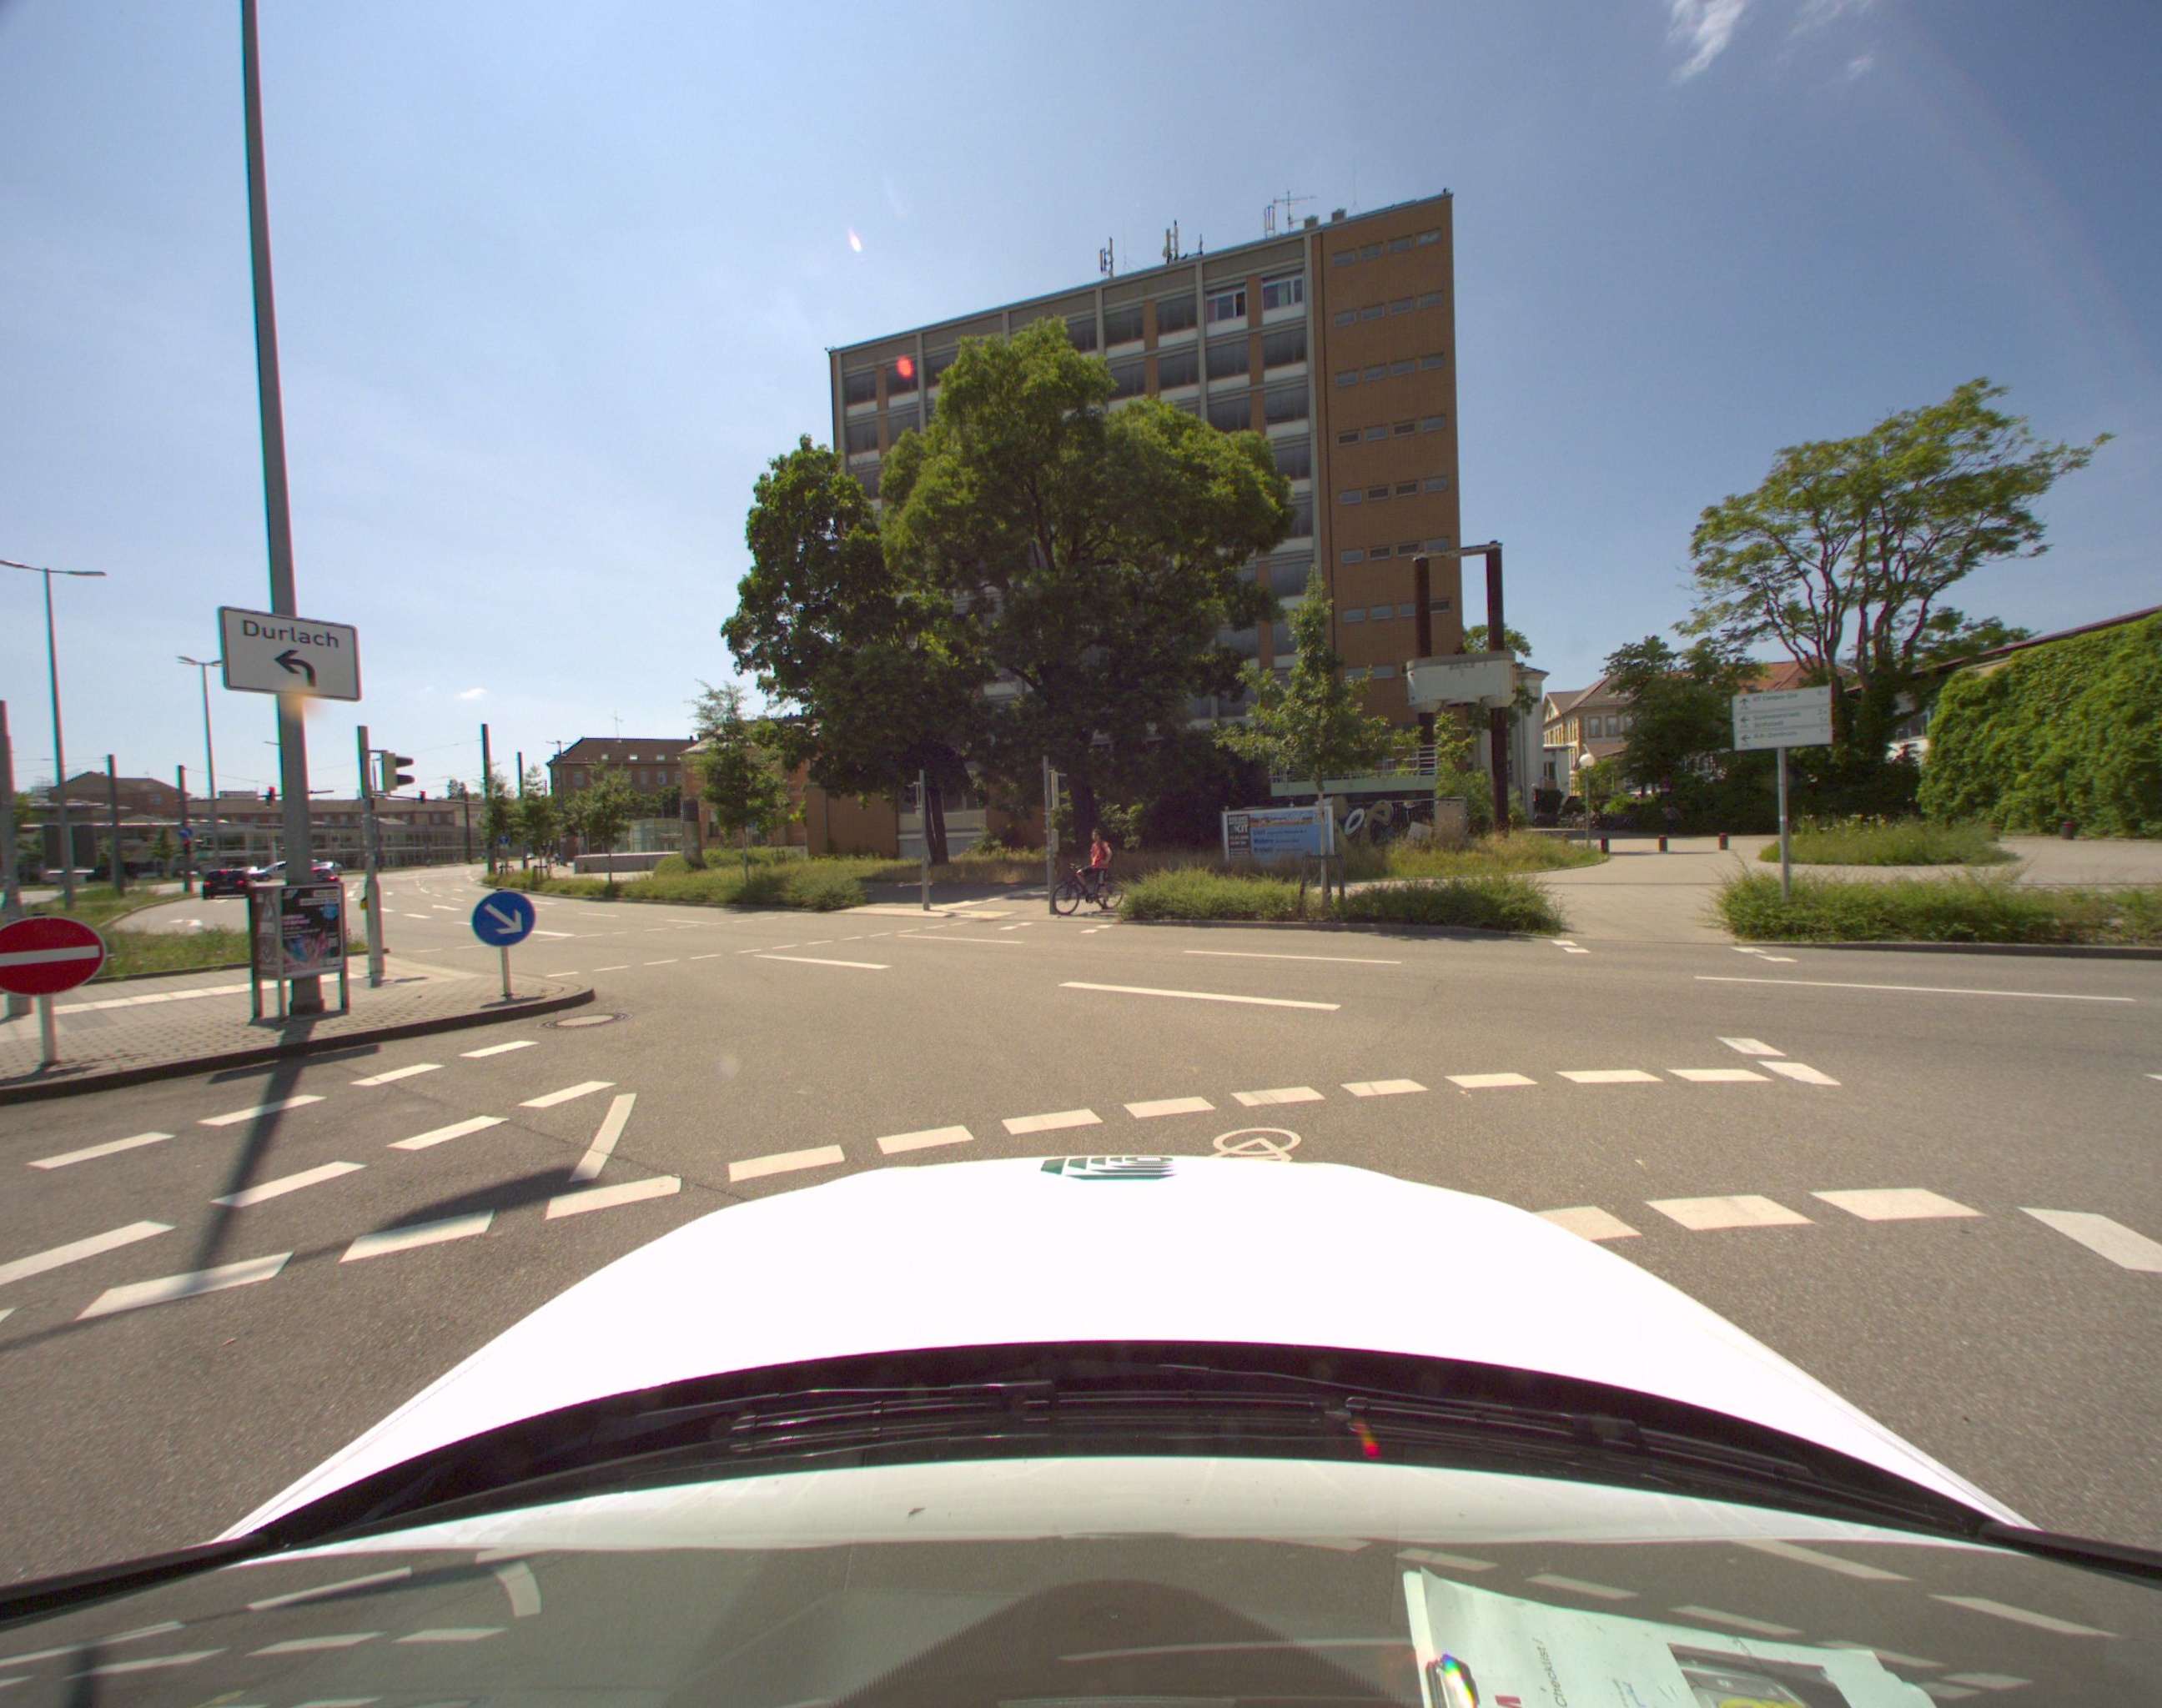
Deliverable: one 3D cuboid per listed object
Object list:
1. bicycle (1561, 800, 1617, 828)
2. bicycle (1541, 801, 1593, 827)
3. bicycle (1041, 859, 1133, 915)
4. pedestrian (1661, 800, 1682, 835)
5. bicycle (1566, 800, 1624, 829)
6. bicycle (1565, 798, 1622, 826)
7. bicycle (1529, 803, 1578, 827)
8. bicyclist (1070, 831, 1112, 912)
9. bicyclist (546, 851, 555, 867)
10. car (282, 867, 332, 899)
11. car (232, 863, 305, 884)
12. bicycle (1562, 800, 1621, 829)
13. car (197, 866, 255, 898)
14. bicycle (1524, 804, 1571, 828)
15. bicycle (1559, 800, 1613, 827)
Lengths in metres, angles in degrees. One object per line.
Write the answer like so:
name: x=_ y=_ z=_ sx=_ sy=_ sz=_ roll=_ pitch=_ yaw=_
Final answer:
bicycle: x=37.724 y=-2.981 z=60.492 sx=3.417 sy=2.013 sz=0.764 roll=1 pitch=2 yaw=21
bicycle: x=38.610 y=-3.162 z=64.770 sx=3.417 sy=2.013 sz=0.764 roll=1 pitch=2 yaw=21
bicycle: x=0.152 y=0.710 z=18.059 sx=2.003 sy=1.045 sz=0.553 roll=-4 pitch=3 yaw=-29
pedestrian: x=28.752 y=-1.764 z=39.652 sx=0.634 sy=1.665 sz=0.710 roll=0 pitch=2 yaw=19
bicycle: x=36.538 y=-2.795 z=57.954 sx=3.417 sy=2.013 sz=0.764 roll=1 pitch=2 yaw=21
bicycle: x=37.332 y=-3.040 z=59.410 sx=3.417 sy=2.013 sz=0.764 roll=1 pitch=2 yaw=21
bicycle: x=39.268 y=-3.244 z=67.728 sx=3.417 sy=2.013 sz=0.764 roll=1 pitch=2 yaw=21
bicyclist: x=0.224 y=0.368 z=18.093 sx=0.705 sy=1.715 sz=0.546 roll=-3 pitch=3 yaw=-29
bicyclist: x=-64.215 y=0.599 z=98.625 sx=0.770 sy=1.937 sz=0.652 roll=-2 pitch=3 yaw=-43
car: x=-41.245 y=1.495 z=43.449 sx=1.732 sy=1.556 sz=4.532 roll=-3 pitch=1 yaw=-42
car: x=-74.492 y=1.799 z=74.696 sx=1.791 sy=1.626 sz=4.348 roll=1 pitch=3 yaw=29
bicycle: x=35.545 y=-2.744 z=56.759 sx=3.417 sy=2.013 sz=0.764 roll=1 pitch=2 yaw=21
car: x=-43.696 y=1.400 z=41.694 sx=1.635 sy=1.463 sz=3.952 roll=-3 pitch=1 yaw=-41
bicycle: x=39.565 y=-3.215 z=69.101 sx=3.417 sy=2.013 sz=0.764 roll=1 pitch=2 yaw=21
bicycle: x=38.798 y=-3.107 z=62.590 sx=3.417 sy=2.013 sz=0.764 roll=1 pitch=2 yaw=21
